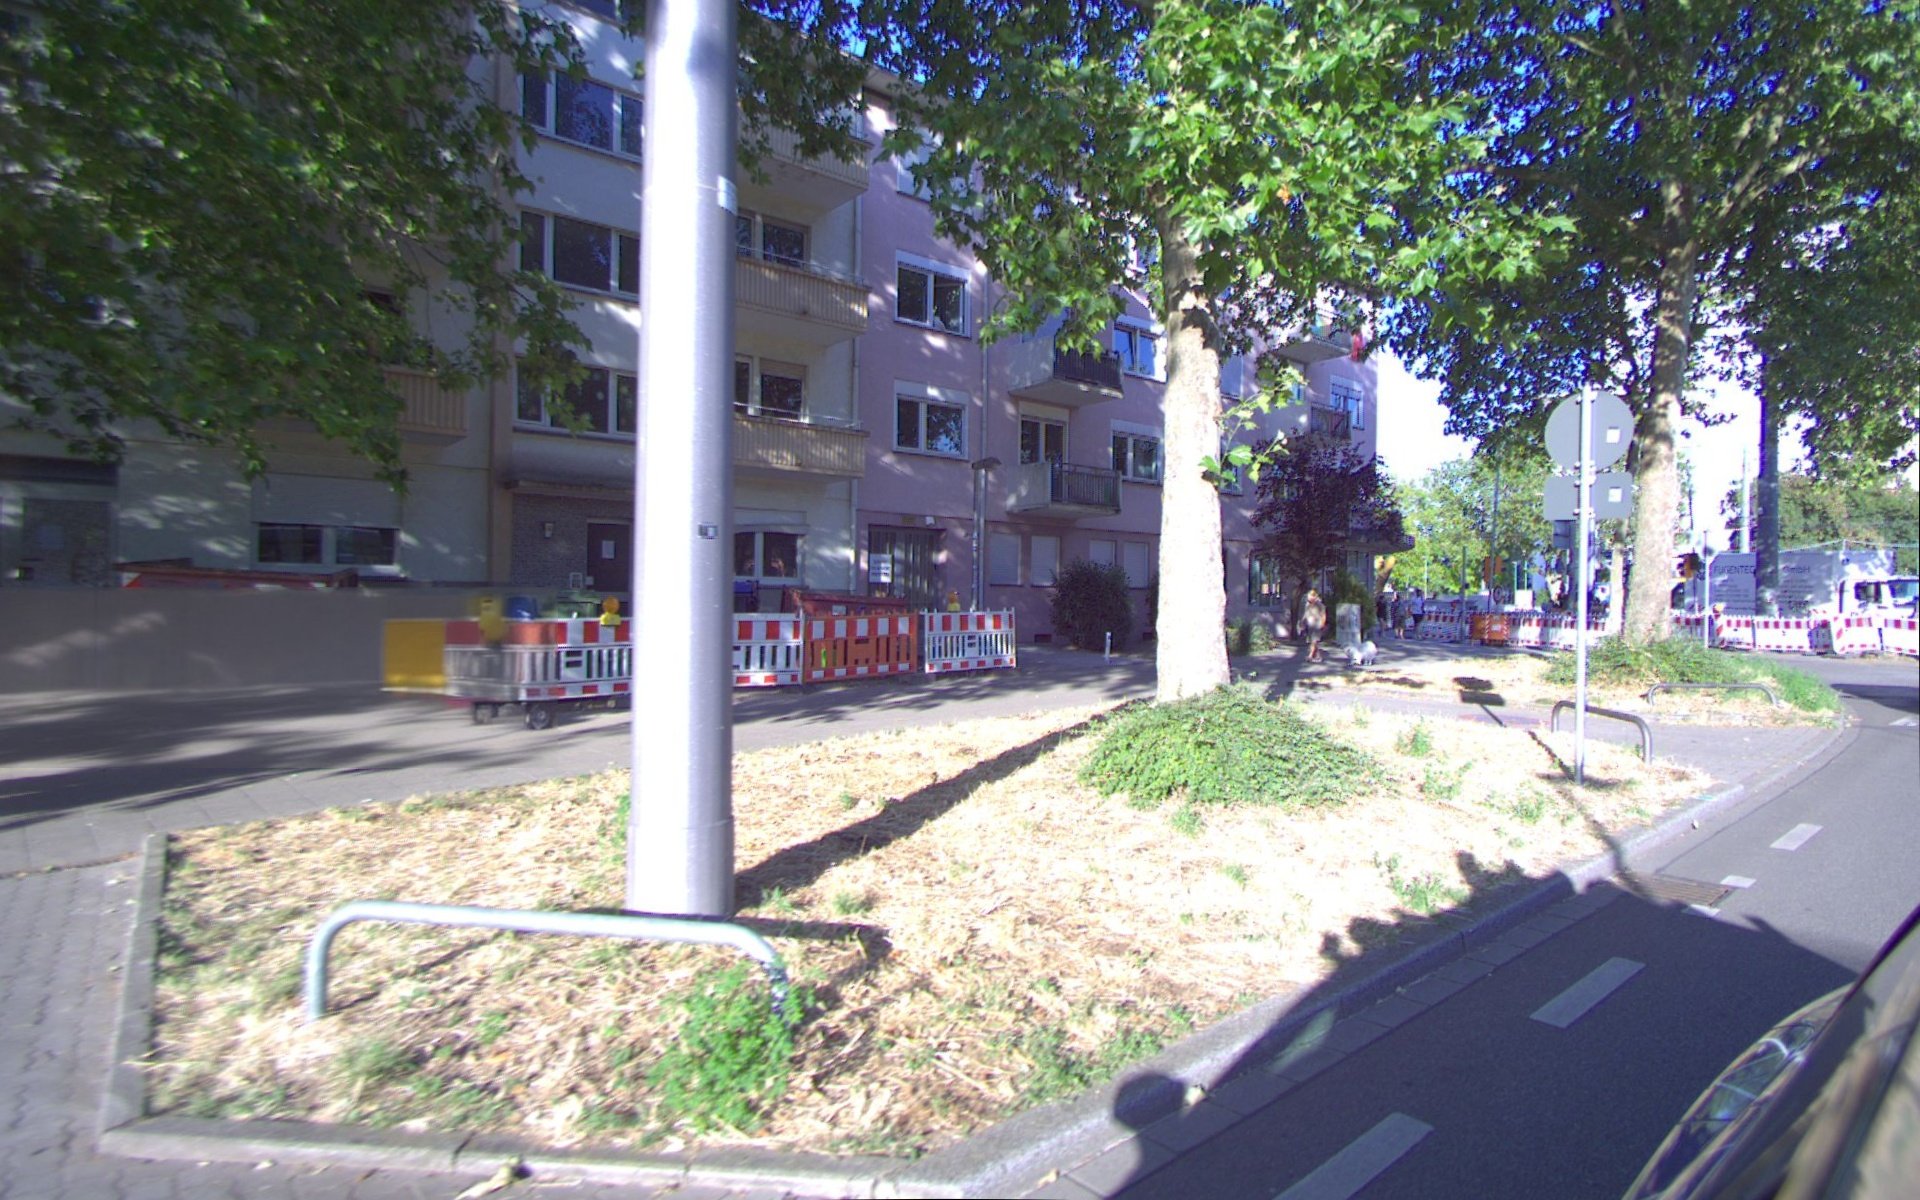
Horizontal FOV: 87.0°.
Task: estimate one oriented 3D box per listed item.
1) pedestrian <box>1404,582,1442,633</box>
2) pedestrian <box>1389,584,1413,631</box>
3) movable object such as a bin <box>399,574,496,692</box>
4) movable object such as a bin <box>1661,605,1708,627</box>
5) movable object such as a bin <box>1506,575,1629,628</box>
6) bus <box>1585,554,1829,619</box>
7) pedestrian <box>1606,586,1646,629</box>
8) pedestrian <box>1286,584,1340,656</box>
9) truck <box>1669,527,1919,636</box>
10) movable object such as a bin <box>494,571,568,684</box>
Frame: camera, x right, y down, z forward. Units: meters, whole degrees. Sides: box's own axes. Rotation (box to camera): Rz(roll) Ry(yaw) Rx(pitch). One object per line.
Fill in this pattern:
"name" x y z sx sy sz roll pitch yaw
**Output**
"pedestrian" 17.460 0.284 38.205 0.823 1.893 1.101 2 -1 -7
"pedestrian" 16.524 0.295 37.923 0.573 1.730 0.679 1 -2 -1
"movable object such as a bin" -6.665 0.401 13.223 0.822 1.452 1.301 0 0 -13
"movable object such as a bin" 31.342 0.683 43.781 0.917 0.928 1.420 0 0 -32
"movable object such as a bin" 27.731 0.036 46.457 1.959 2.285 5.215 -1 0 -8
"bus" 47.593 -0.892 65.138 3.032 3.769 12.292 0 1 -38
"pedestrian" 28.395 0.299 43.179 0.955 1.821 1.072 0 0 -18
"pedestrian" 7.476 0.412 21.449 0.802 1.493 0.791 0 0 -43
"truck" 31.550 -0.640 37.804 2.763 3.586 8.997 0 0 -9
"movable object such as a bin" -5.791 0.343 13.729 0.822 1.452 1.301 0 0 -19
